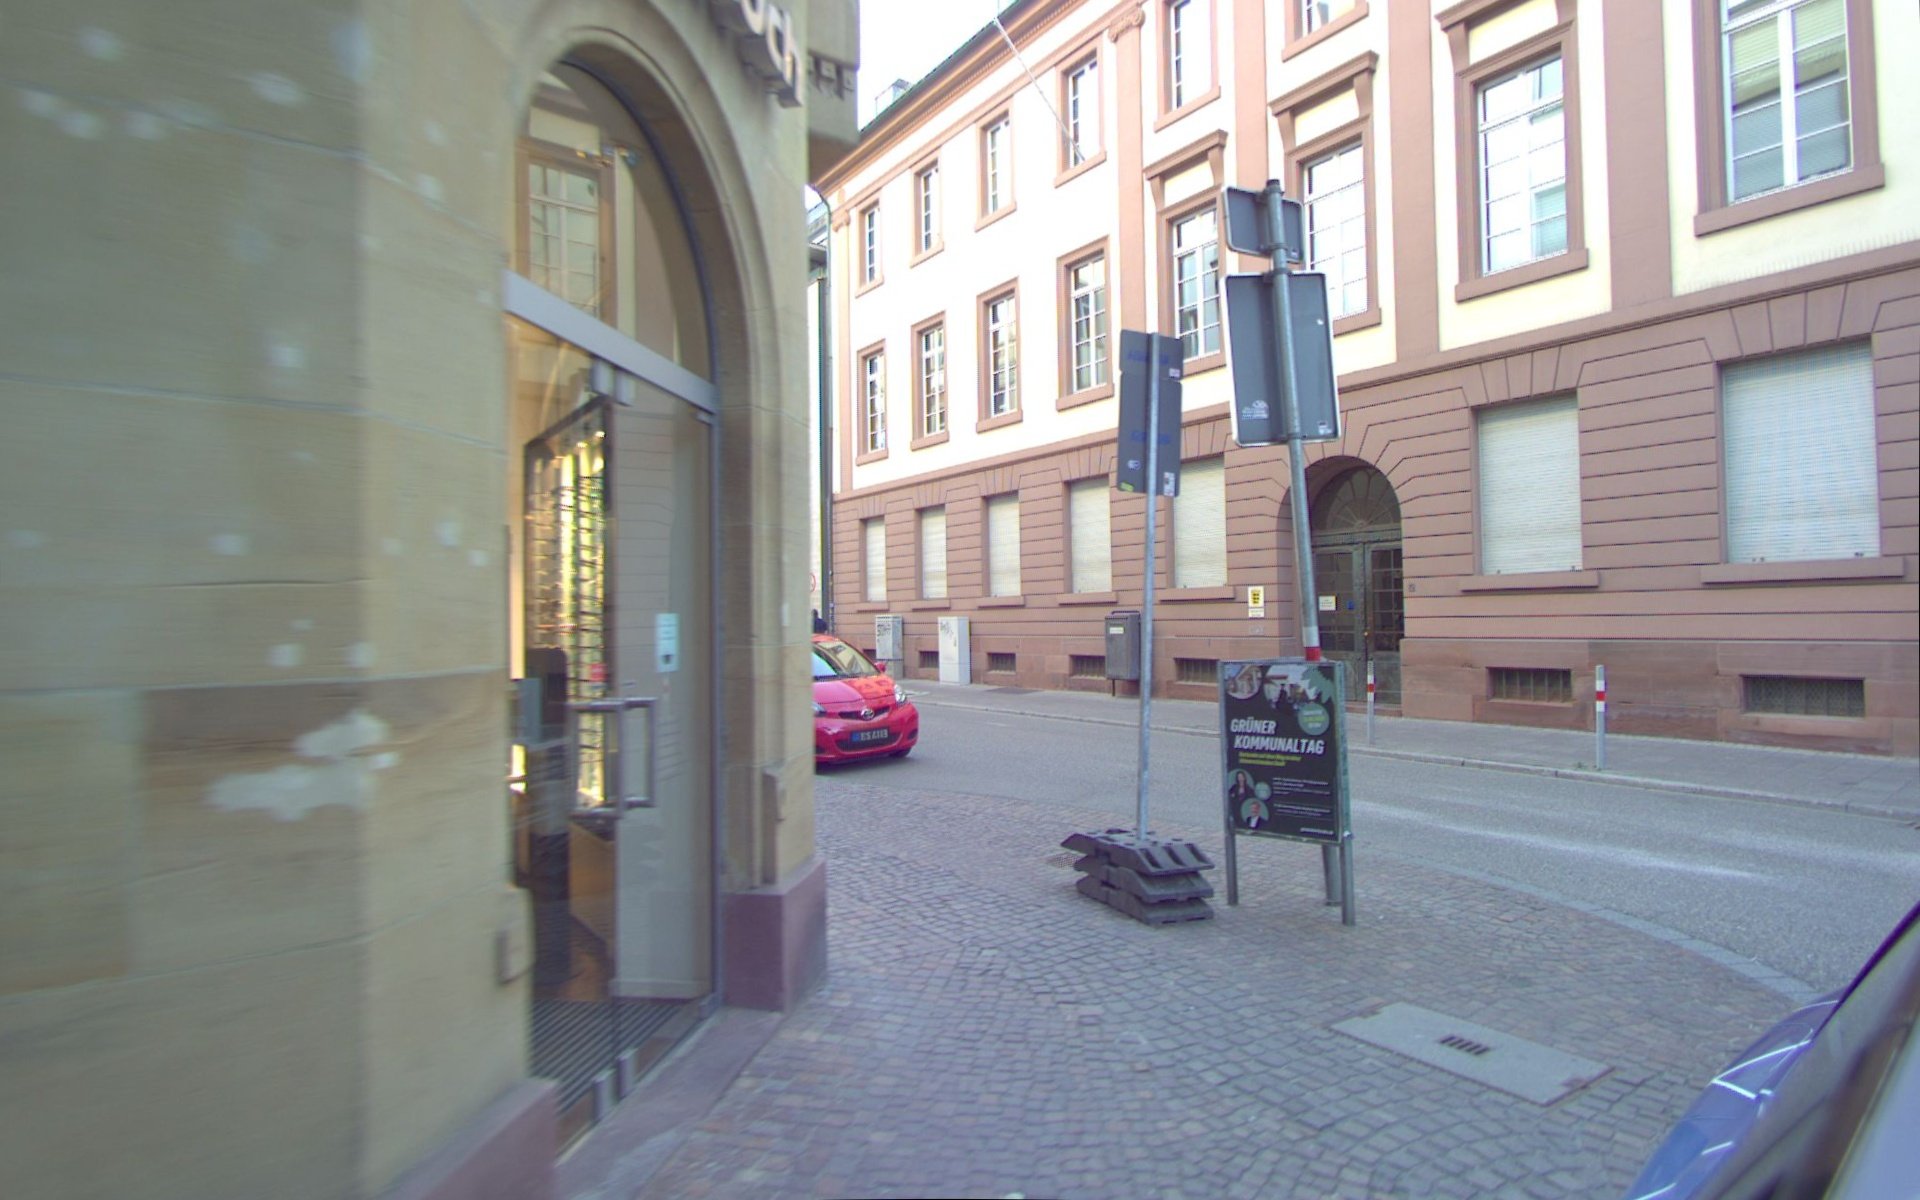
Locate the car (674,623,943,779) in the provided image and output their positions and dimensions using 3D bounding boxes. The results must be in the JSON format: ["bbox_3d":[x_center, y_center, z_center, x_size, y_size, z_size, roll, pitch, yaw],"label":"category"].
[{"bbox_3d":[-1.991,1.061,12.234,1.619,1.460,4.000,-3,0,-34],"label":"car"}]

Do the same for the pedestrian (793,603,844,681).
[{"bbox_3d":[-3.409,0.993,24.367,0.912,1.801,0.941,0,-1,-33],"label":"pedestrian"}]
